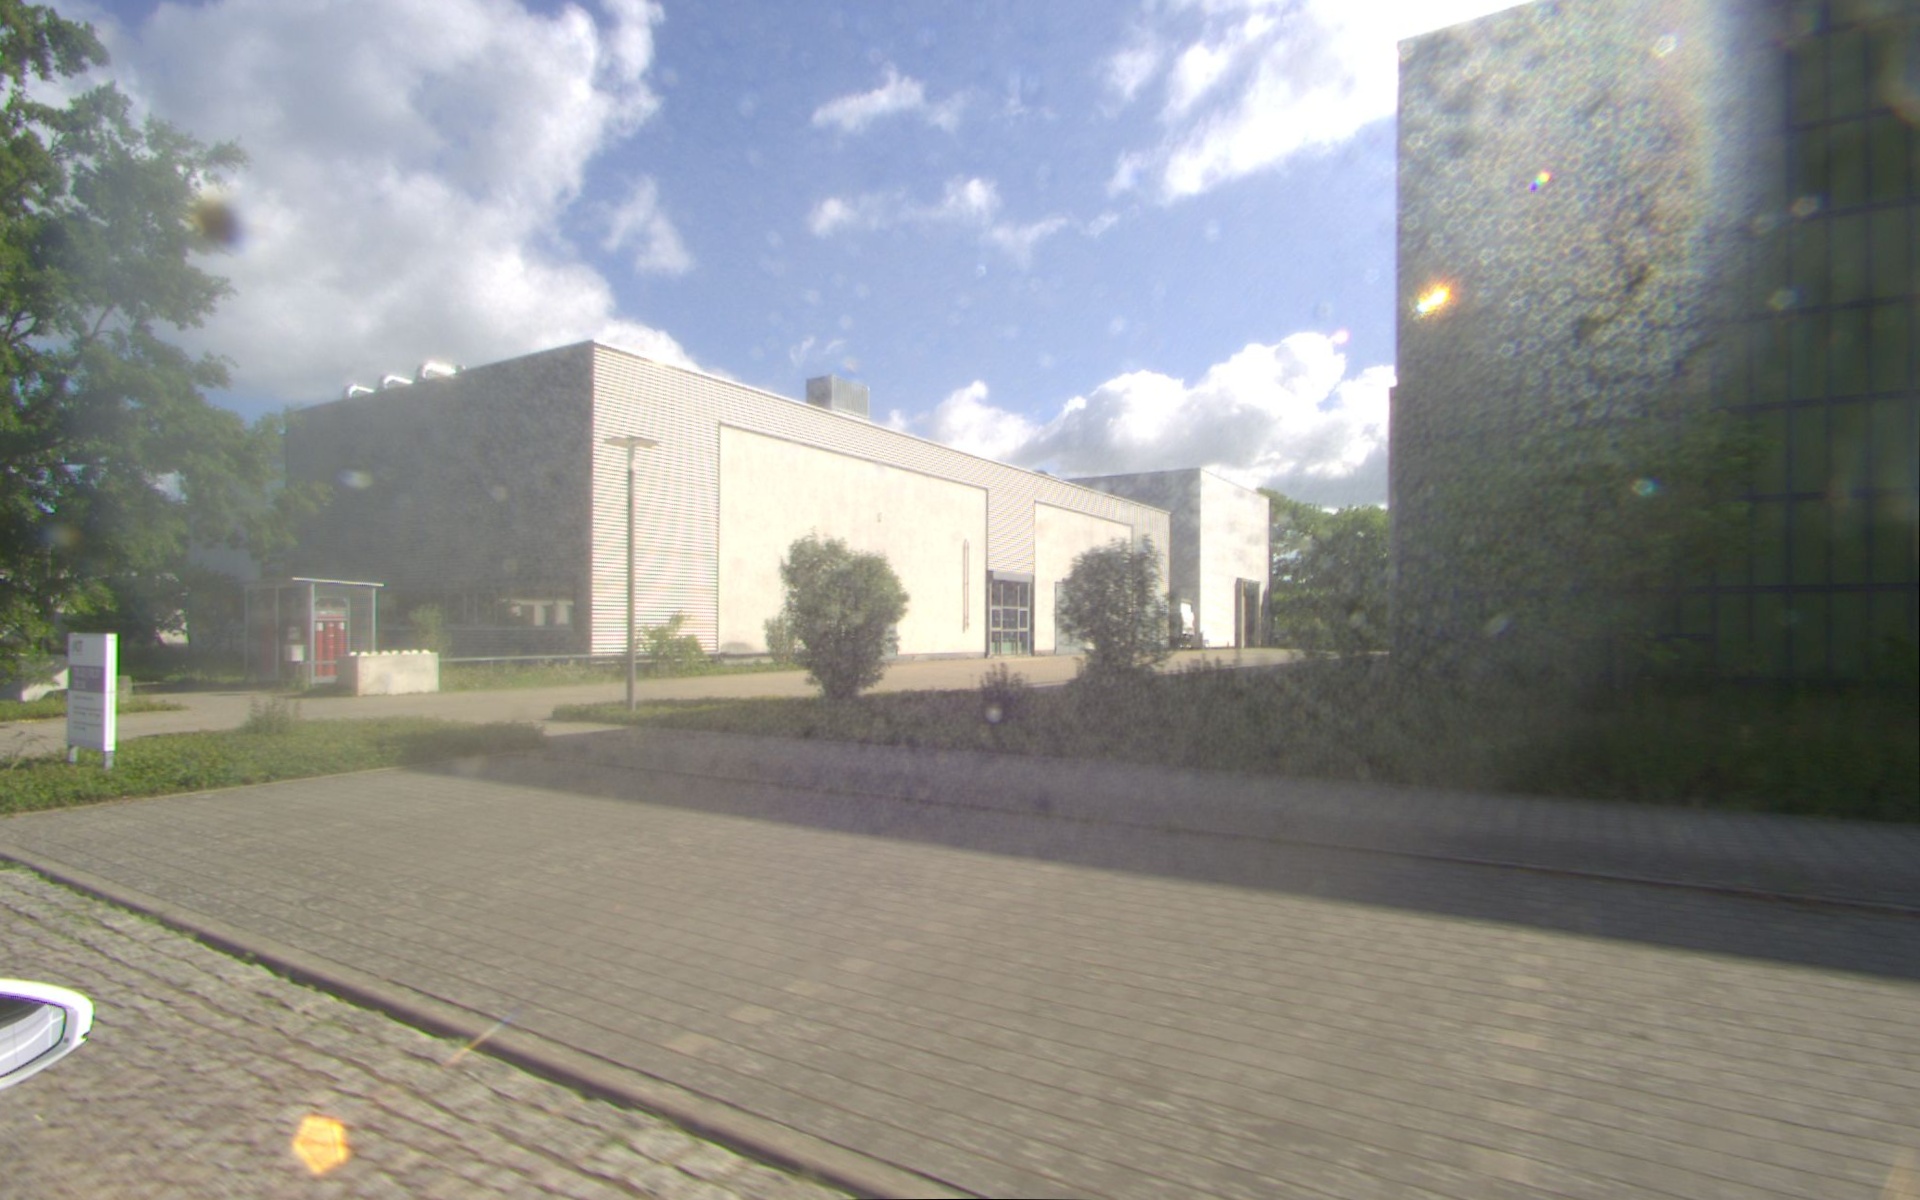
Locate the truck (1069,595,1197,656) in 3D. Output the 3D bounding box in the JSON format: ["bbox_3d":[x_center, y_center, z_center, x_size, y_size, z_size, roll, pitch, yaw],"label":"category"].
[{"bbox_3d":[11.410,1.685,66.451,7.990,3.866,2.637,-1,-2,33],"label":"truck"}]
